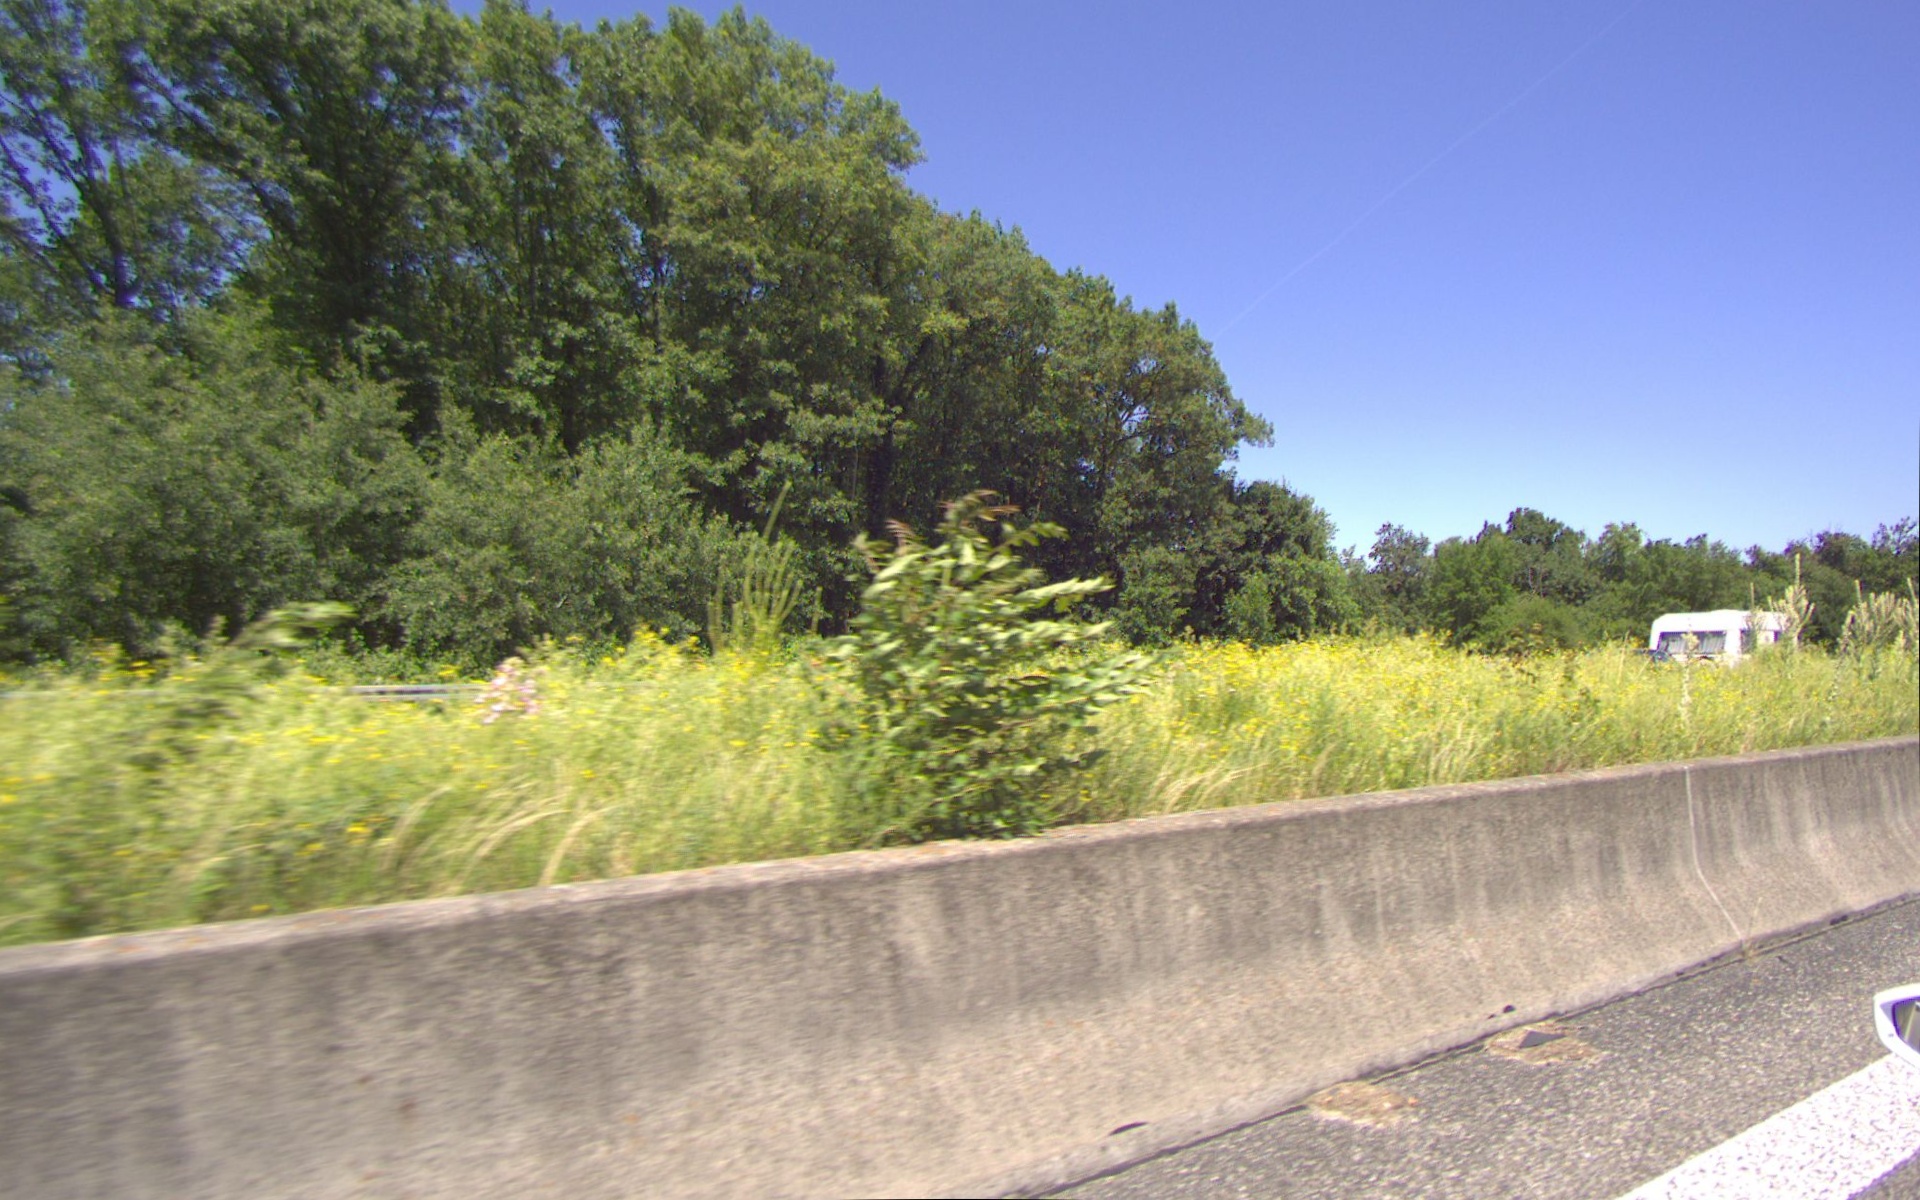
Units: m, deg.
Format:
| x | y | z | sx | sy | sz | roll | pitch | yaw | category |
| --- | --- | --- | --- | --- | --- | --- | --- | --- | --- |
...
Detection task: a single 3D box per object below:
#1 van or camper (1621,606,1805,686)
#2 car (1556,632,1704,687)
| x | y | z | sx | sy | sz | roll | pitch | yaw | category |
| --- | --- | --- | --- | --- | --- | --- | --- | --- | --- |
| 21.485 | 1.294 | 28.592 | 5.821 | 2.040 | 2.210 | 2 | -1 | -32 | van or camper |
| 17.362 | 1.524 | 25.992 | 3.955 | 1.259 | 1.695 | 2 | -1 | -32 | car |
